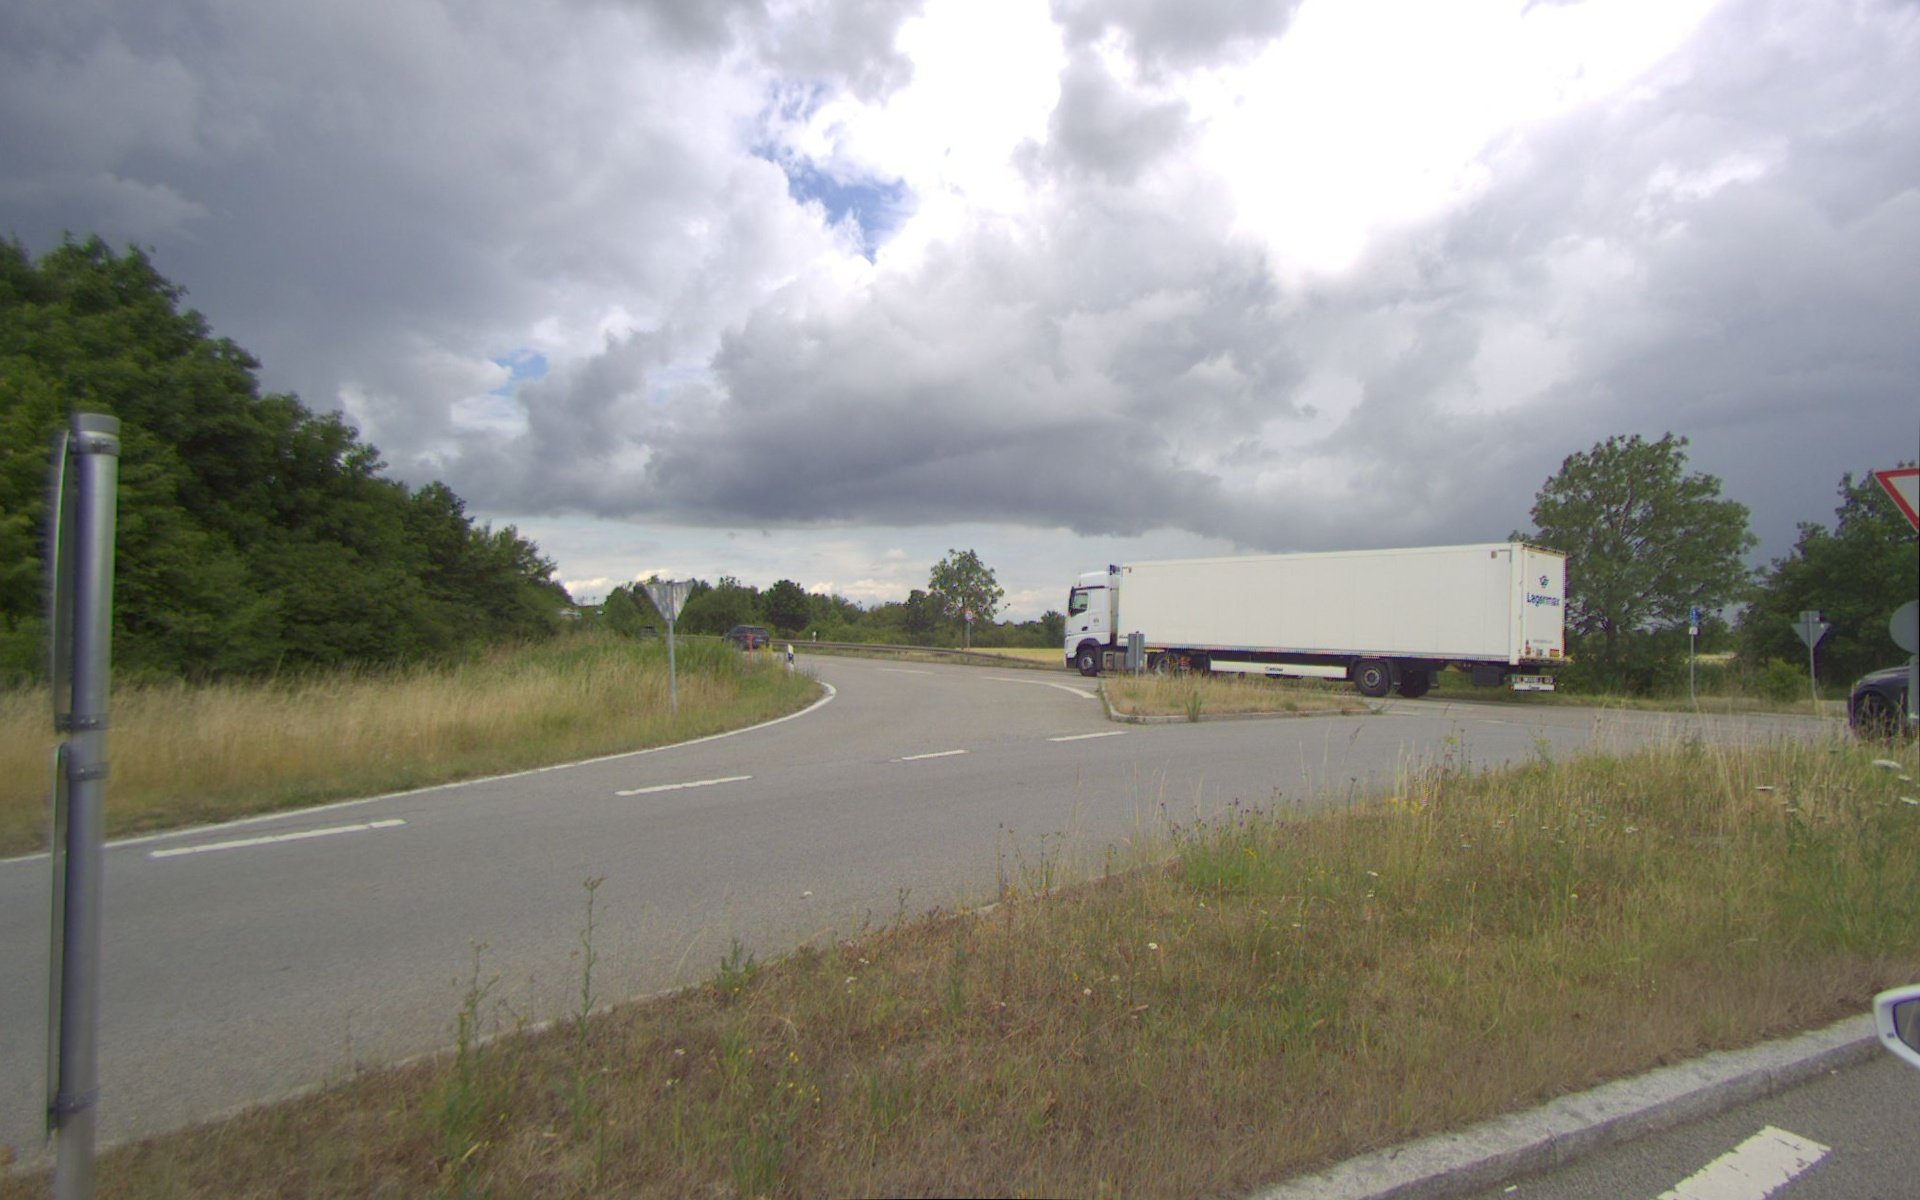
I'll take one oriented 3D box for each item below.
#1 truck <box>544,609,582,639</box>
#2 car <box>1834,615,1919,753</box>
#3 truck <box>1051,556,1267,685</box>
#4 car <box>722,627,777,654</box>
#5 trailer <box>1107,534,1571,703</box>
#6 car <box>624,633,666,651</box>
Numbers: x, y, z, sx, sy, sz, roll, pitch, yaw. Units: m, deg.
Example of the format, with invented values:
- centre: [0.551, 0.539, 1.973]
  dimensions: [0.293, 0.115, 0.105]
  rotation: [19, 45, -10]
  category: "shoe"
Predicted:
- centre: [-37.514, 2.308, 94.897]
  dimensions: [2.045, 2.738, 5.986]
  rotation: [1, -2, -35]
  category: "truck"
- centre: [13.443, 1.089, 12.259]
  dimensions: [1.959, 1.798, 4.648]
  rotation: [1, -2, 8]
  category: "car"
- centre: [6.847, 0.781, 35.596]
  dimensions: [3.101, 4.066, 7.231]
  rotation: [4, -3, -37]
  category: "truck"
- centre: [-13.269, 2.578, 63.150]
  dimensions: [1.980, 1.622, 4.184]
  rotation: [1, -3, -35]
  category: "car"
- centre: [10.529, 0.647, 30.635]
  dimensions: [3.100, 4.066, 13.742]
  rotation: [4, -3, -37]
  category: "trailer"
- centre: [-24.119, 3.198, 76.835]
  dimensions: [1.666, 1.362, 4.310]
  rotation: [1, -2, -37]
  category: "car"
